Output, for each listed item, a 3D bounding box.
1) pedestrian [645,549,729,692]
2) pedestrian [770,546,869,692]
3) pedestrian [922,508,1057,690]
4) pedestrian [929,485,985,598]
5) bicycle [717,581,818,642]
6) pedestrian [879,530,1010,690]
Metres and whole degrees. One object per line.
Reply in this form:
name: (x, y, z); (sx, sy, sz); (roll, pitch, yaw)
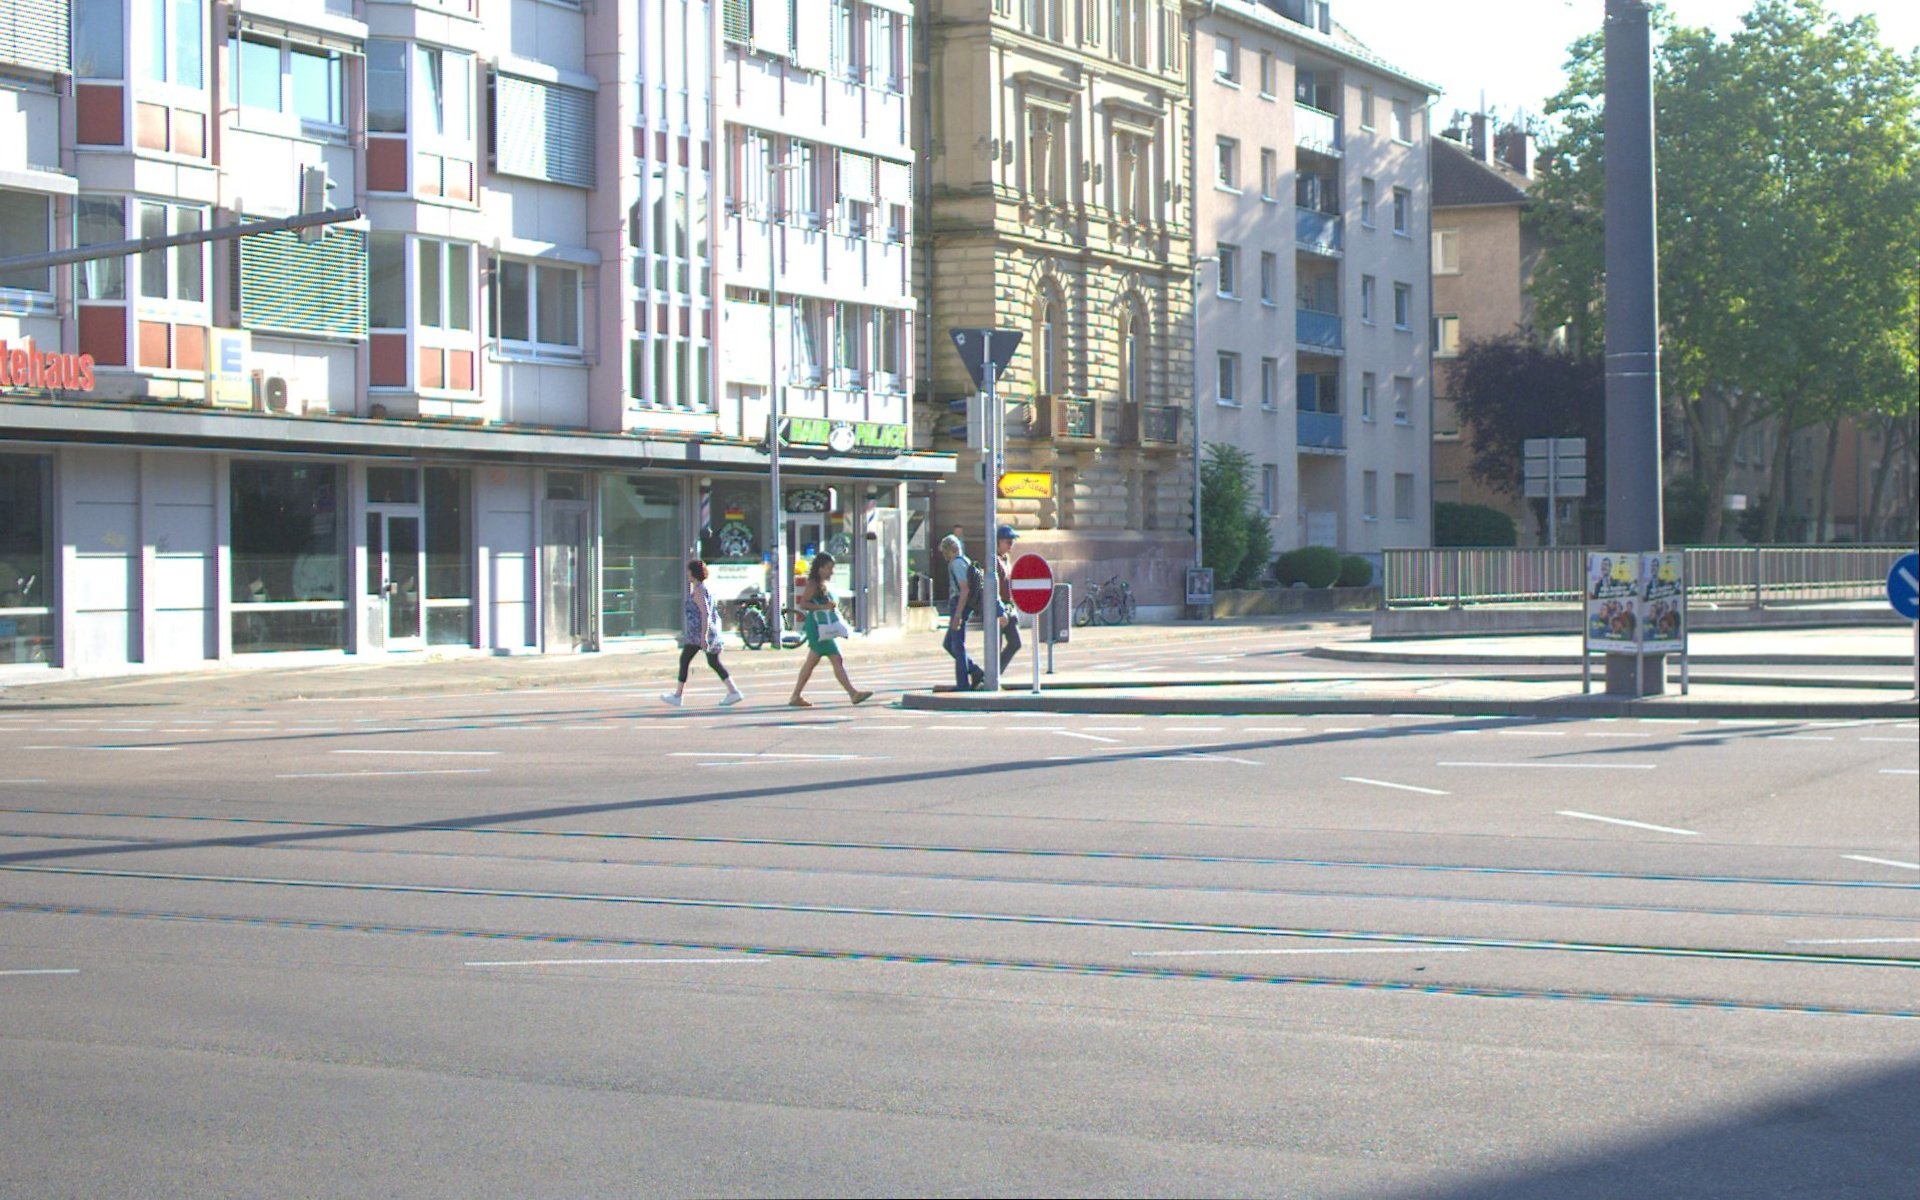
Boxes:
pedestrian: (-2.895, 0.224, 36.520); (0.853, 1.460, 0.686); (1, -4, -4)
pedestrian: (-1.436, 0.184, 35.131); (0.705, 1.448, 0.855); (2, 1, 21)
pedestrian: (0.316, -0.030, 36.534); (1.196, 1.877, 0.855); (2, 2, 21)
pedestrian: (-0.059, -1.249, 73.361); (0.927, 2.390, 0.960); (1, 1, 15)
bicycle: (-3.439, 0.200, 61.603); (0.452, 1.067, 2.087); (2, 2, 42)
pedestrian: (-0.167, 0.099, 38.048); (1.196, 1.725, 0.855); (2, 1, 21)
